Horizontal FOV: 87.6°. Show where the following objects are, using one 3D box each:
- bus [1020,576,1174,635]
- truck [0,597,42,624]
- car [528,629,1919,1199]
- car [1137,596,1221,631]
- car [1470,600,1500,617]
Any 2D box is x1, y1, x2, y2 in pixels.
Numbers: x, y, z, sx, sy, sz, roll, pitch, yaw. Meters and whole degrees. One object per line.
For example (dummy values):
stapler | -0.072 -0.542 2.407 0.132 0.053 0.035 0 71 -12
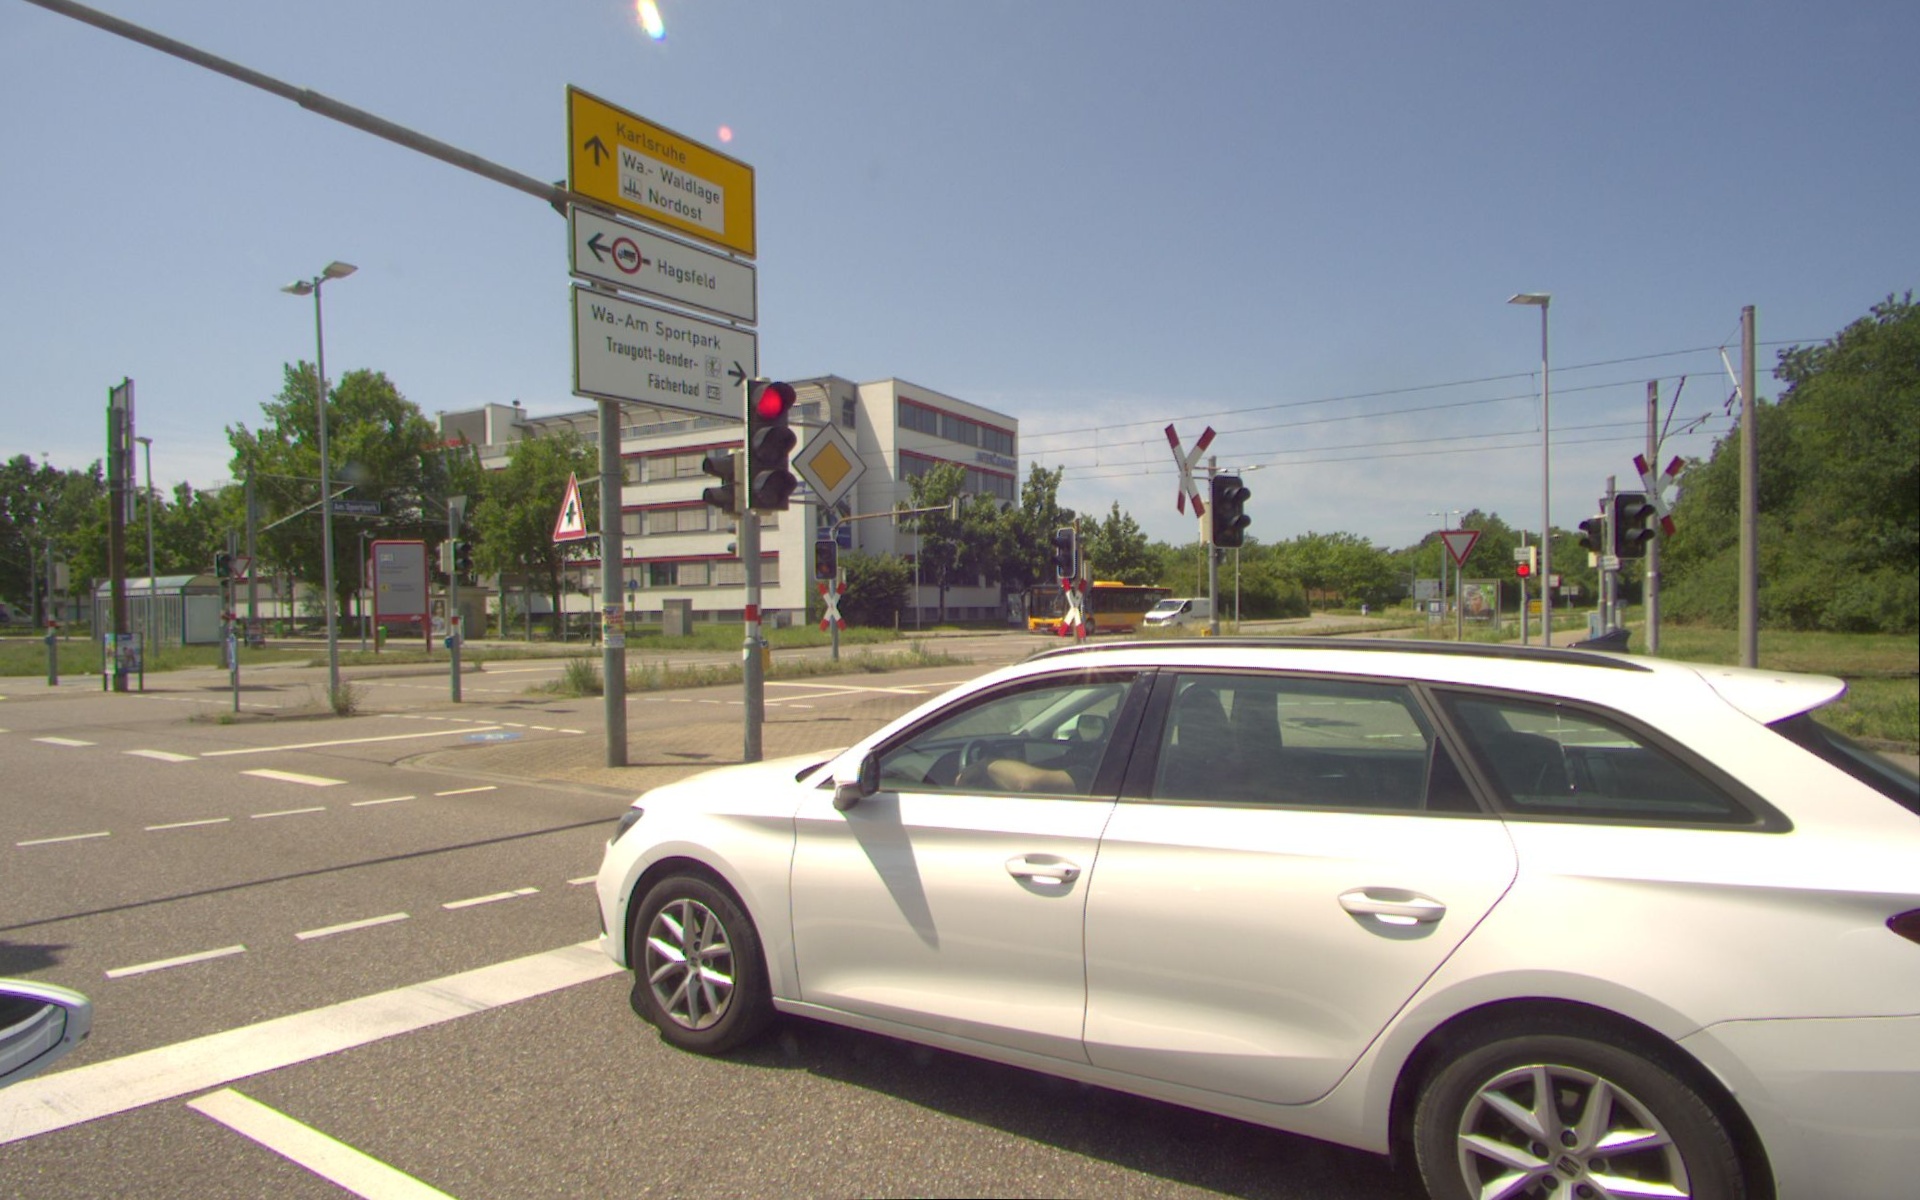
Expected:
bus | 8.387 0.390 59.240 2.808 3.159 11.977 -2 -2 42
truck | -104.652 1.163 109.416 2.283 2.881 5.837 -1 1 26
car | 0.641 0.829 3.474 4.384 1.408 1.680 -1 -1 30
car | 11.652 0.760 53.159 5.021 1.750 1.811 2 -2 -43
car | 51.108 0.862 97.430 1.655 1.601 3.966 1 0 42
